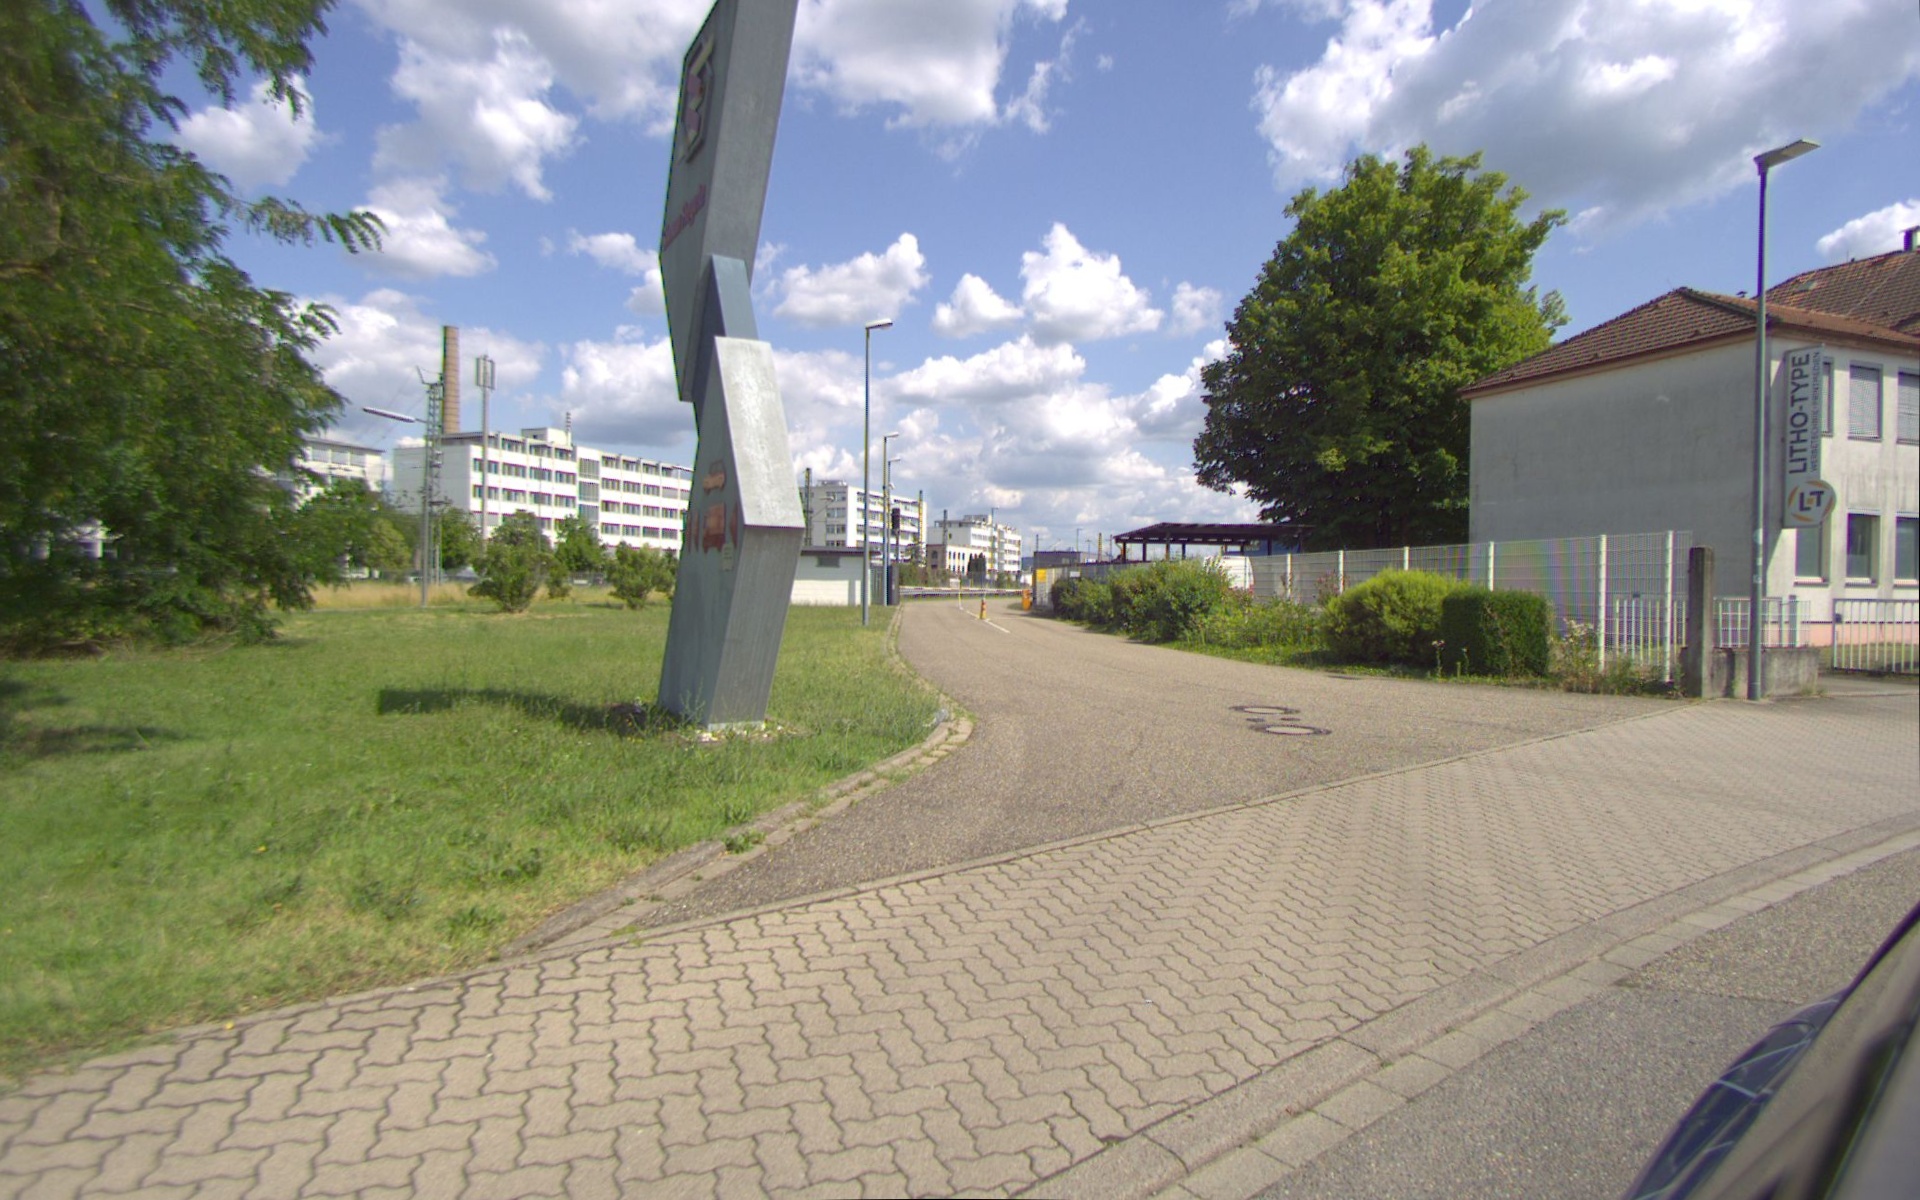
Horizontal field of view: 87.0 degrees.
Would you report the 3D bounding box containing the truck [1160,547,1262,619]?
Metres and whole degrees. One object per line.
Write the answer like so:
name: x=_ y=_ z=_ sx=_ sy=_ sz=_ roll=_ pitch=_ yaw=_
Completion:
truck: x=9.315 y=-0.666 z=37.959 sx=1.959 sy=2.455 sz=4.752 roll=2 pitch=1 yaw=-8
